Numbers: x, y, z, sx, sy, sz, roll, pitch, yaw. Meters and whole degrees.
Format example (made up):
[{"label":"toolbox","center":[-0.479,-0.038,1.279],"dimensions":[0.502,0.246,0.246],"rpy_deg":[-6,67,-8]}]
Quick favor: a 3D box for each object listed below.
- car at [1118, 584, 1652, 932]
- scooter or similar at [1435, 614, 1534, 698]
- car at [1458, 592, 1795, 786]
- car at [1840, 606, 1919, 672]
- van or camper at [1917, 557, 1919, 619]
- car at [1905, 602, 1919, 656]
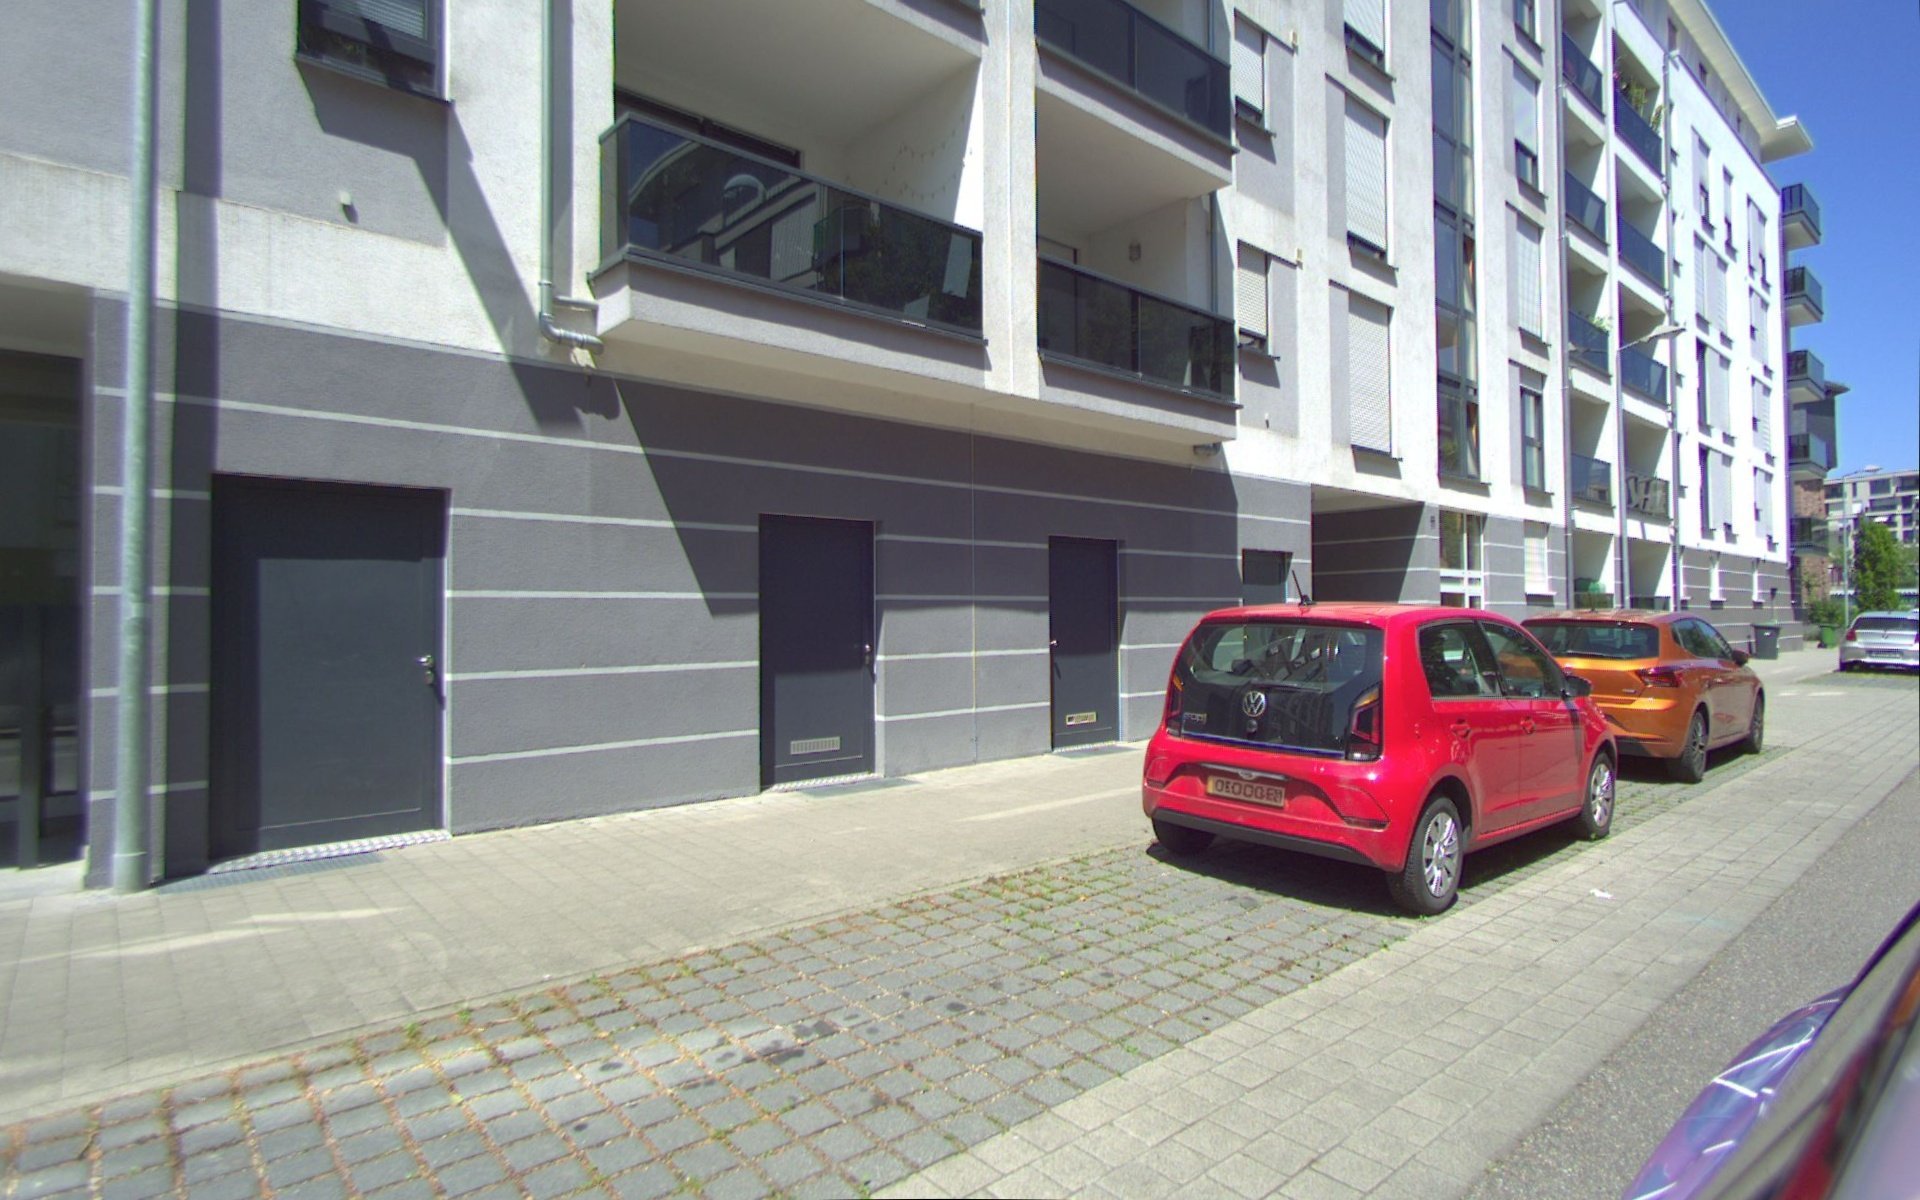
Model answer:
[{"label":"car","center":[2.766,0.692,6.220],"dimensions":[3.611,1.504,1.598],"rpy_deg":[1,1,-41]},{"label":"scooter or similar","center":[8.103,0.848,15.628],"dimensions":[1.498,1.241,0.548],"rpy_deg":[0,-2,-26]},{"label":"car","center":[6.701,0.704,9.988],"dimensions":[4.184,1.505,1.740],"rpy_deg":[0,0,-41]},{"label":"car","center":[22.300,0.858,23.748],"dimensions":[4.348,1.434,1.849],"rpy_deg":[0,-1,-41]},{"label":"van or camper","center":[33.769,0.081,33.482],"dimensions":[7.694,2.943,2.441],"rpy_deg":[0,-2,-43]},{"label":"car","center":[28.993,0.844,29.548],"dimensions":[4.189,1.524,1.809],"rpy_deg":[0,0,-43]}]
